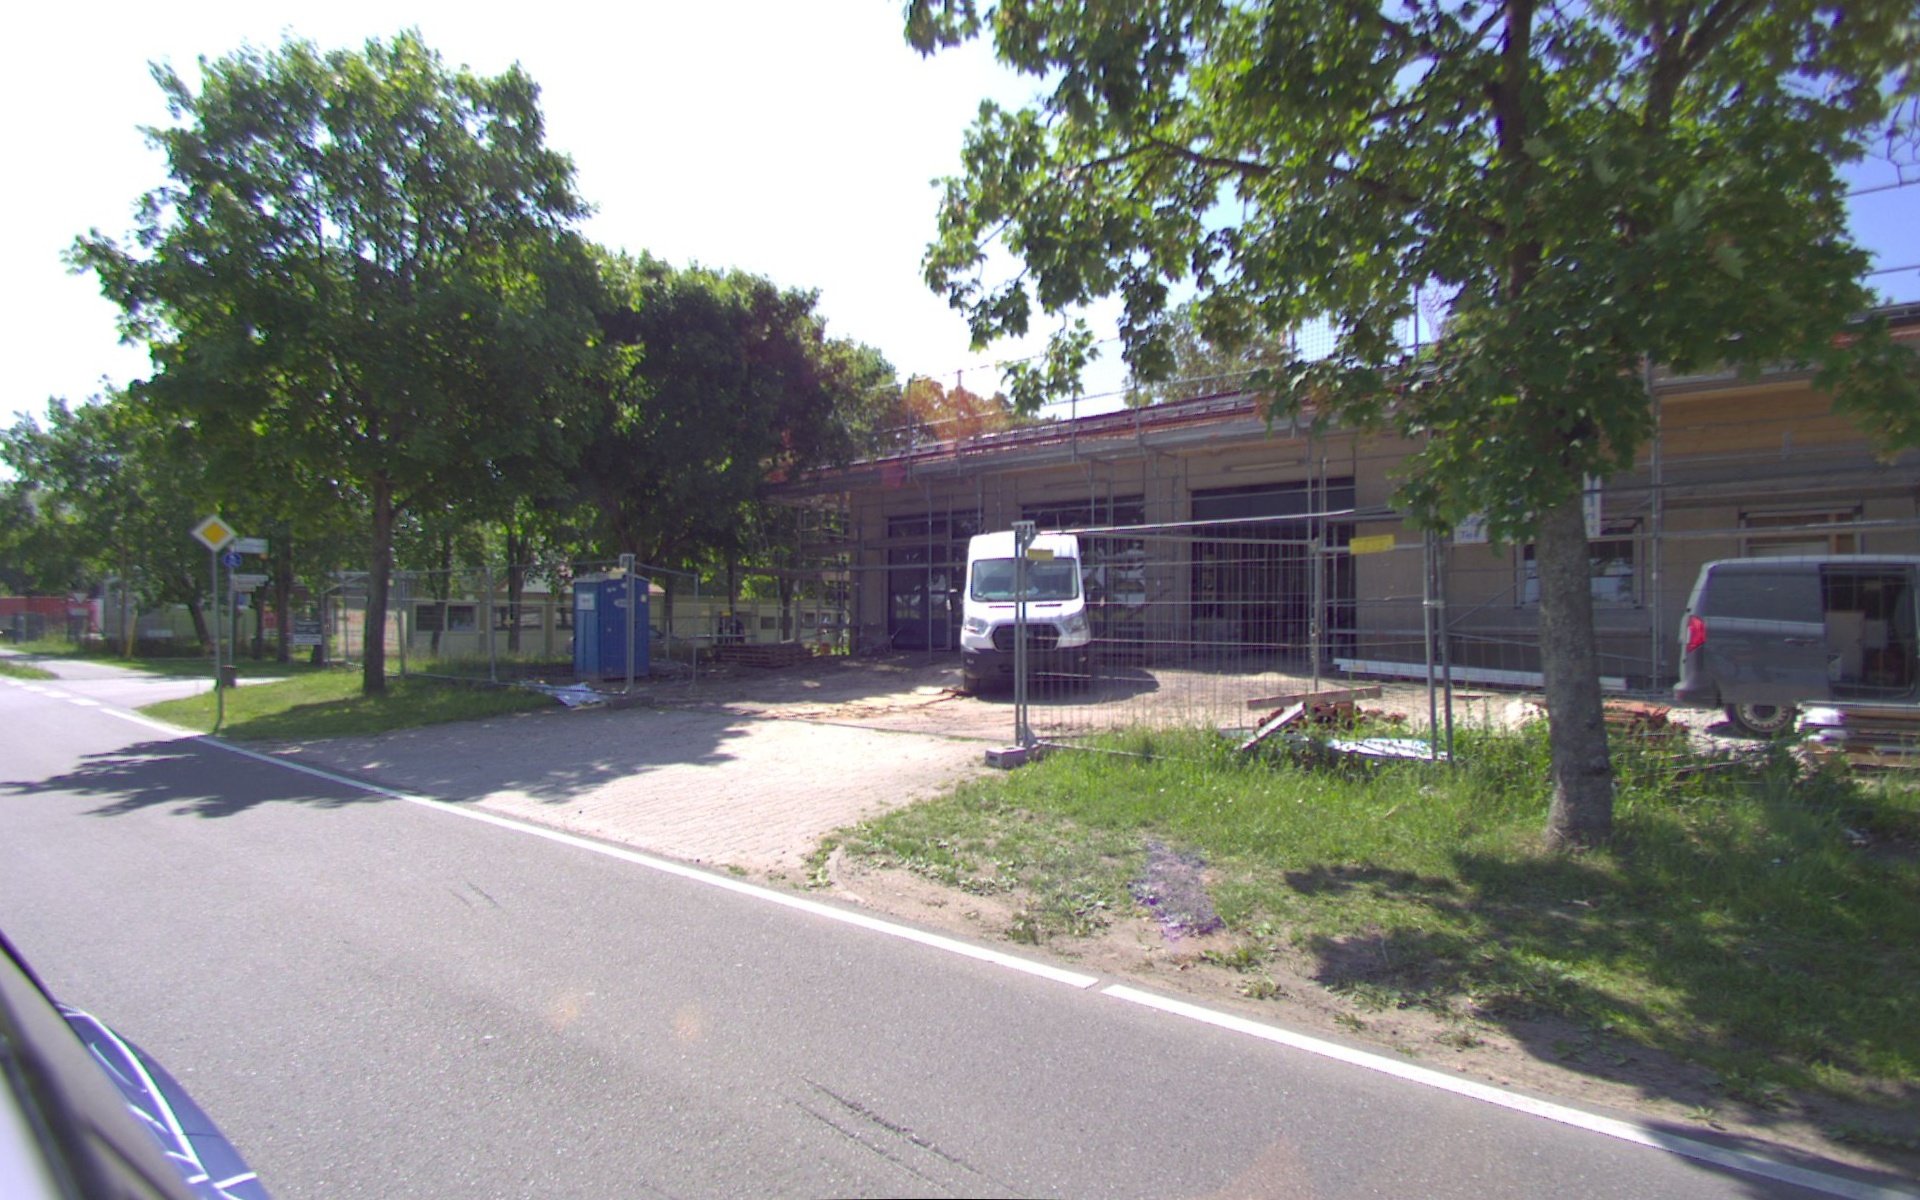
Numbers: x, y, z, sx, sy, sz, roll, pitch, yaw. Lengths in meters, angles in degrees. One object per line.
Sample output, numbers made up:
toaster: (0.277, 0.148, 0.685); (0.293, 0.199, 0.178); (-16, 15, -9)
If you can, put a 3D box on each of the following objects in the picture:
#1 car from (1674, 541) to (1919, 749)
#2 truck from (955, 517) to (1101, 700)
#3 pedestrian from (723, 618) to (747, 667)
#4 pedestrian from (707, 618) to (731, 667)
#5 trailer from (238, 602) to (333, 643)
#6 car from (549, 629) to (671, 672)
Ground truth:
car: (9.479, 0.401, 9.547); (4.325, 1.852, 1.950); (-1, -1, 40)
truck: (1.126, 0.037, 17.103); (1.974, 2.502, 5.926); (-2, 2, 4)
pedestrian: (-8.137, 1.542, 36.649); (0.584, 1.764, 0.599); (-1, -2, 31)
pedestrian: (-8.830, 1.565, 37.079); (0.584, 1.764, 0.599); (-1, -2, 31)
trailer: (-38.969, 1.326, 58.564); (1.819, 2.295, 4.198); (-1, -2, 27)
car: (-12.233, 1.750, 35.538); (1.754, 1.410, 3.769); (-1, -2, 33)
